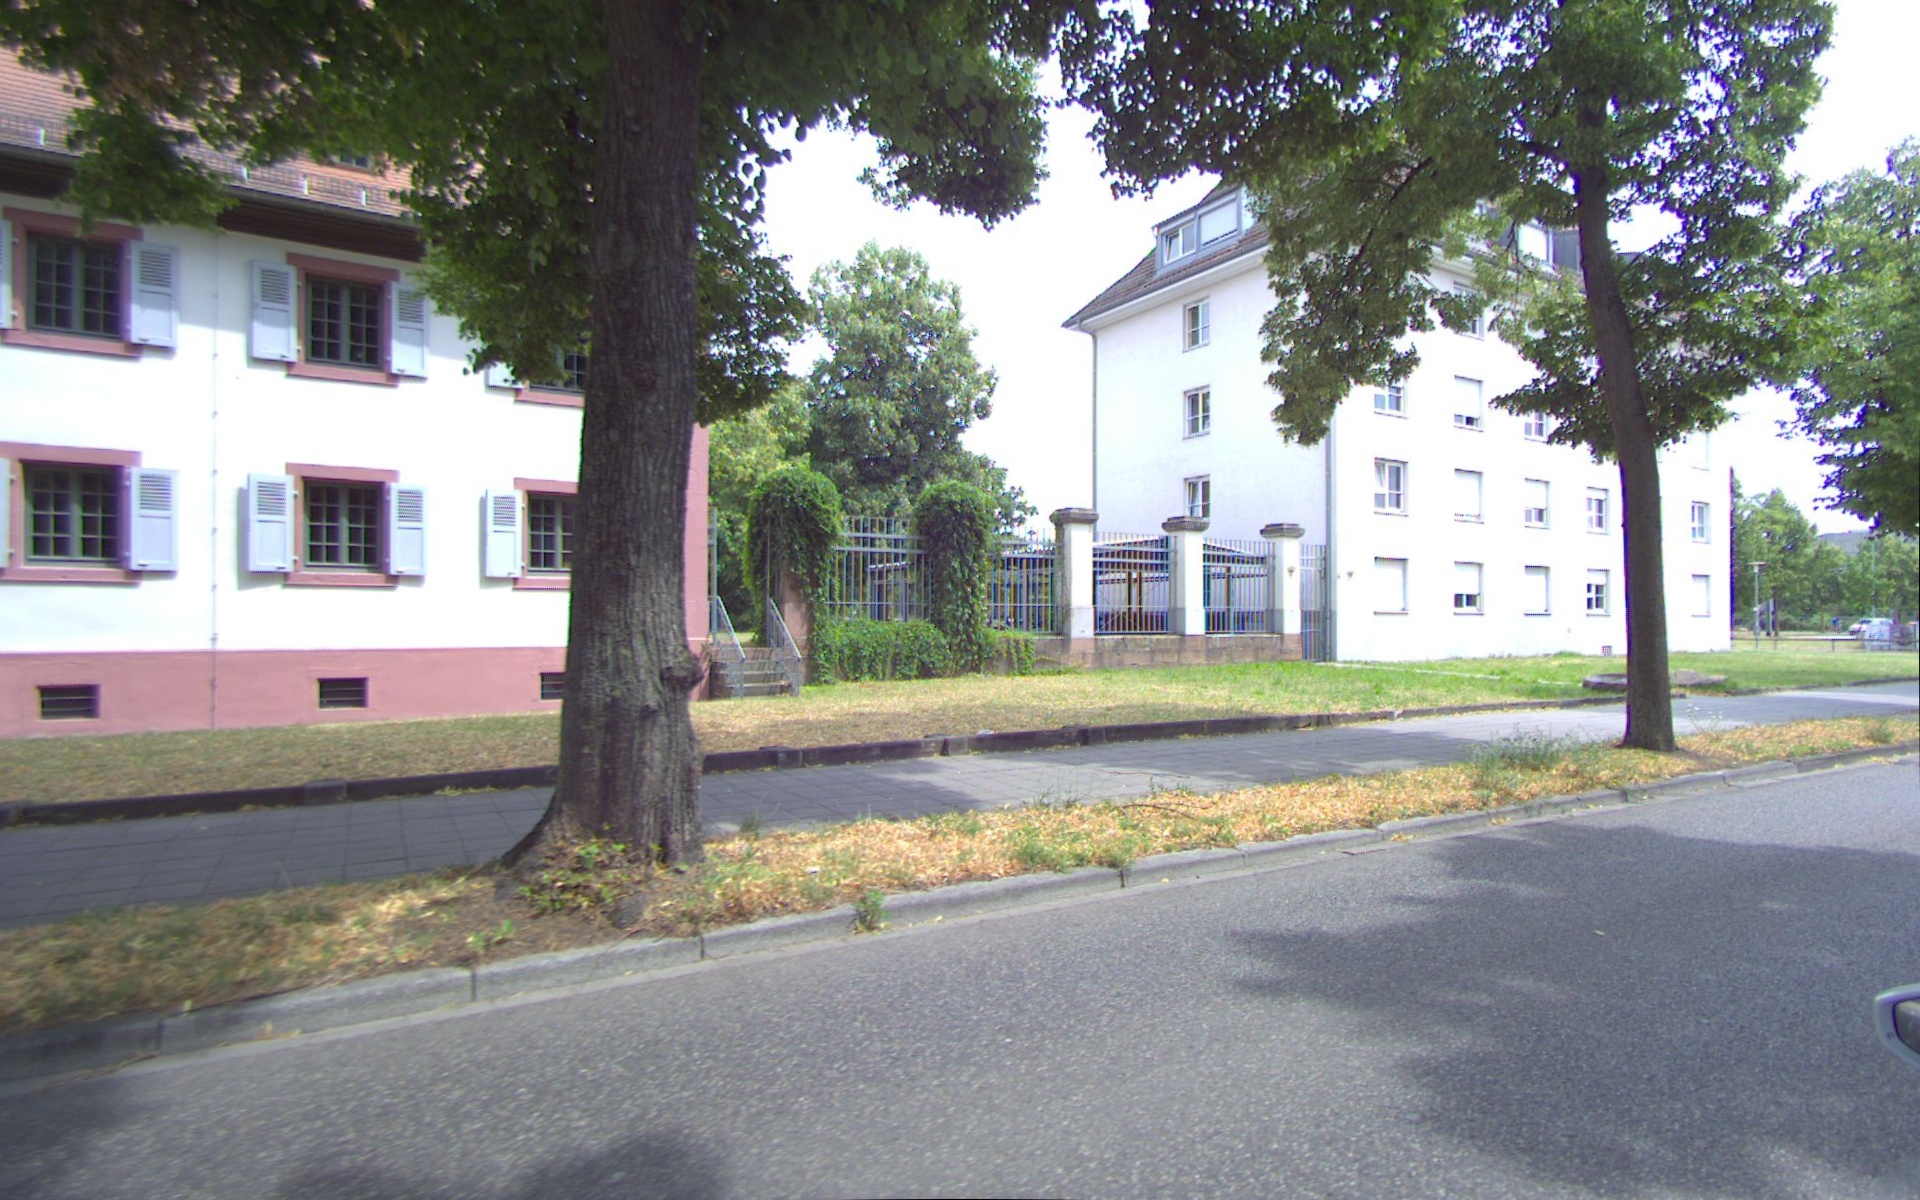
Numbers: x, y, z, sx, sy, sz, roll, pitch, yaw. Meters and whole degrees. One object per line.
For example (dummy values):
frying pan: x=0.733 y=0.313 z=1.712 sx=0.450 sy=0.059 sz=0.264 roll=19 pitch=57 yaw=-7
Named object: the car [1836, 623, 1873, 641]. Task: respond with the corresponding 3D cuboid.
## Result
car: x=87.477 y=3.106 z=98.247 sx=1.857 sy=1.683 sz=3.993 roll=-2 pitch=-3 yaw=30
